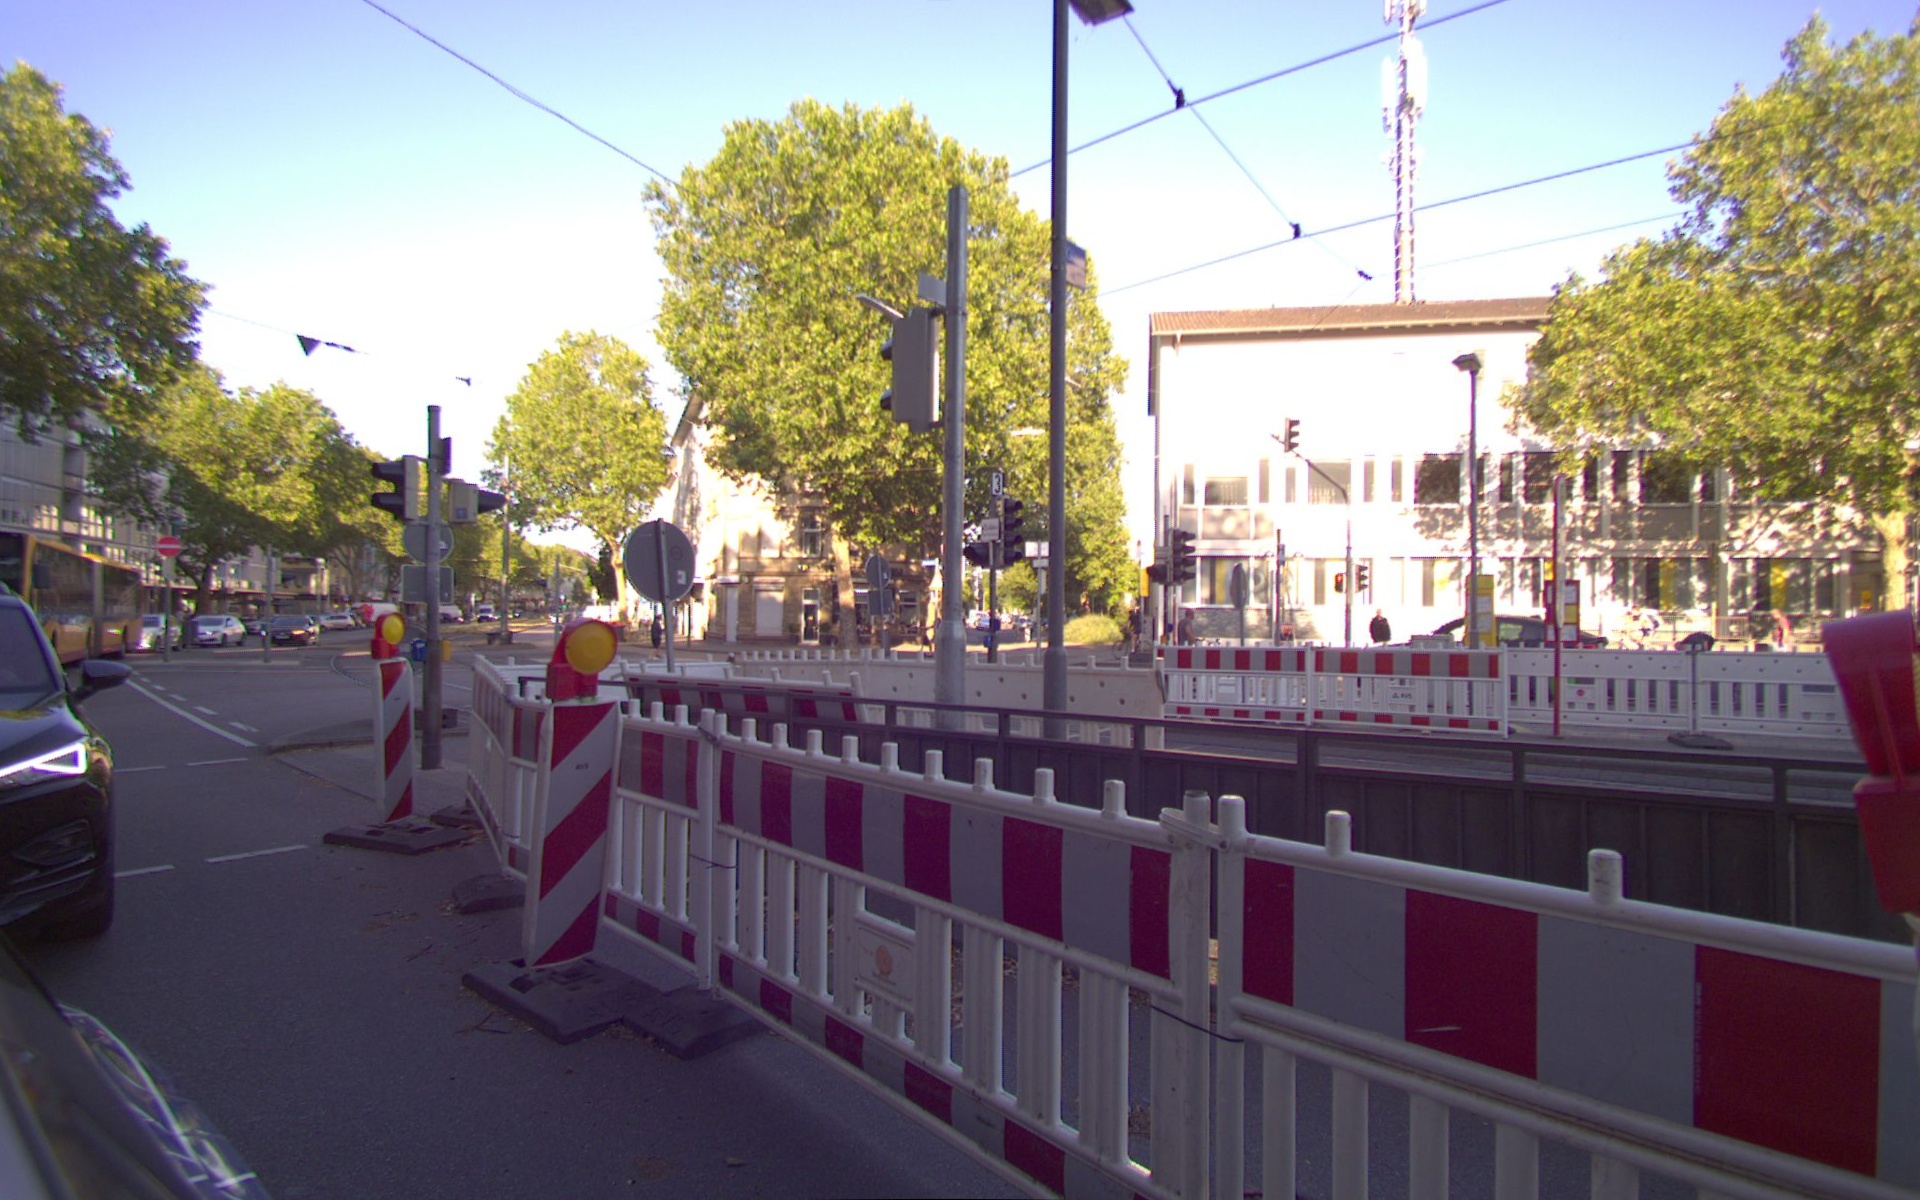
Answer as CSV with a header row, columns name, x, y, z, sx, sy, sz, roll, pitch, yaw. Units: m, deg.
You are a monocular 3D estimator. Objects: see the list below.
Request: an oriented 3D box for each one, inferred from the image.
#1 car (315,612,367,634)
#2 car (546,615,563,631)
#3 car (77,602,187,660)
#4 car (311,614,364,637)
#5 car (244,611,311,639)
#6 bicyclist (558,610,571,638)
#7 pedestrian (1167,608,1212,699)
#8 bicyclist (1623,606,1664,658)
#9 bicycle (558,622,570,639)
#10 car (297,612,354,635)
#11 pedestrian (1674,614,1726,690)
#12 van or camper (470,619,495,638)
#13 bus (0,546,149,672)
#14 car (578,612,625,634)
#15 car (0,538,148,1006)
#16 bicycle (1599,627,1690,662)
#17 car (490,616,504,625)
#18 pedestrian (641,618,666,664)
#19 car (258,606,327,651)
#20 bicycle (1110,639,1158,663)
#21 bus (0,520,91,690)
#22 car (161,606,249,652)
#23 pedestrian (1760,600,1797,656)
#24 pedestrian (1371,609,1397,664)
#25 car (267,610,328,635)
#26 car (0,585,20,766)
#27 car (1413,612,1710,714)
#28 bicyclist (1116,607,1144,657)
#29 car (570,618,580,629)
name,x,y,z,sx,sy,sz,roll,pitch,yaw
car,-60.153,2.228,98.345,3.938,2.029,2.002,1,-2,-42
car,-52.985,2.965,132.230,1.965,2.029,4.013,1,-1,-20
car,-30.685,1.128,37.648,1.965,2.029,4.111,1,-1,-21
car,-58.063,2.384,94.455,3.938,2.029,2.002,1,-2,-42
car,-50.400,1.834,74.817,3.932,2.029,2.006,1,-2,-32
bicyclist,-28.950,1.760,74.069,0.841,2.029,0.987,1,-2,-22
pedestrian,4.547,1.045,20.080,0.545,1.760,0.693,1,-2,-24
bicyclist,20.634,0.958,30.544,0.836,1.538,0.574,0,-2,9
bicycle,-29.013,2.214,74.110,0.837,1.202,2.474,1,-1,-22
car,-55.976,2.079,89.302,3.938,2.029,2.002,1,-2,-42
pedestrian,18.413,1.275,25.206,0.923,1.847,0.693,-1,-2,28
van or camper,-69.077,4.073,146.434,2.385,2.739,6.151,1,-1,-18
bus,-25.825,0.299,29.086,2.676,3.130,8.622,1,-2,-31
car,-34.314,2.178,96.929,1.990,2.029,3.963,0,-2,27
car,-5.348,0.641,4.664,3.998,1.719,1.818,-1,-2,41
bicycle,20.650,1.342,30.563,2.166,1.039,0.676,0,-2,10
car,-76.002,3.335,166.075,1.675,1.481,3.776,1,-2,-19
pedestrian,-10.521,1.395,34.725,0.594,1.545,0.746,1,-2,-38
car,-31.534,1.341,47.902,1.965,2.029,4.013,1,-1,-22
bicycle,6.116,1.795,35.685,0.669,0.788,1.997,1,-1,-23
bus,-20.866,0.138,21.700,2.678,3.130,8.641,1,-2,-36
car,-34.813,1.317,46.809,1.966,2.029,4.012,1,-1,-17
pedestrian,21.776,0.739,26.926,0.581,1.466,0.583,0,-2,19
pedestrian,12.253,1.061,29.263,0.649,1.564,0.563,-1,-2,28
car,-54.006,1.827,82.536,3.938,2.029,2.002,1,-2,-42
car,-10.859,0.691,9.926,4.073,1.656,1.973,-1,-2,41
car,11.094,1.076,18.818,4.552,1.674,1.974,-1,-2,38
bicyclist,6.018,1.144,35.929,0.662,1.741,0.767,1,-2,-23
car,-71.121,4.324,187.161,1.661,1.866,4.013,1,-1,-20
